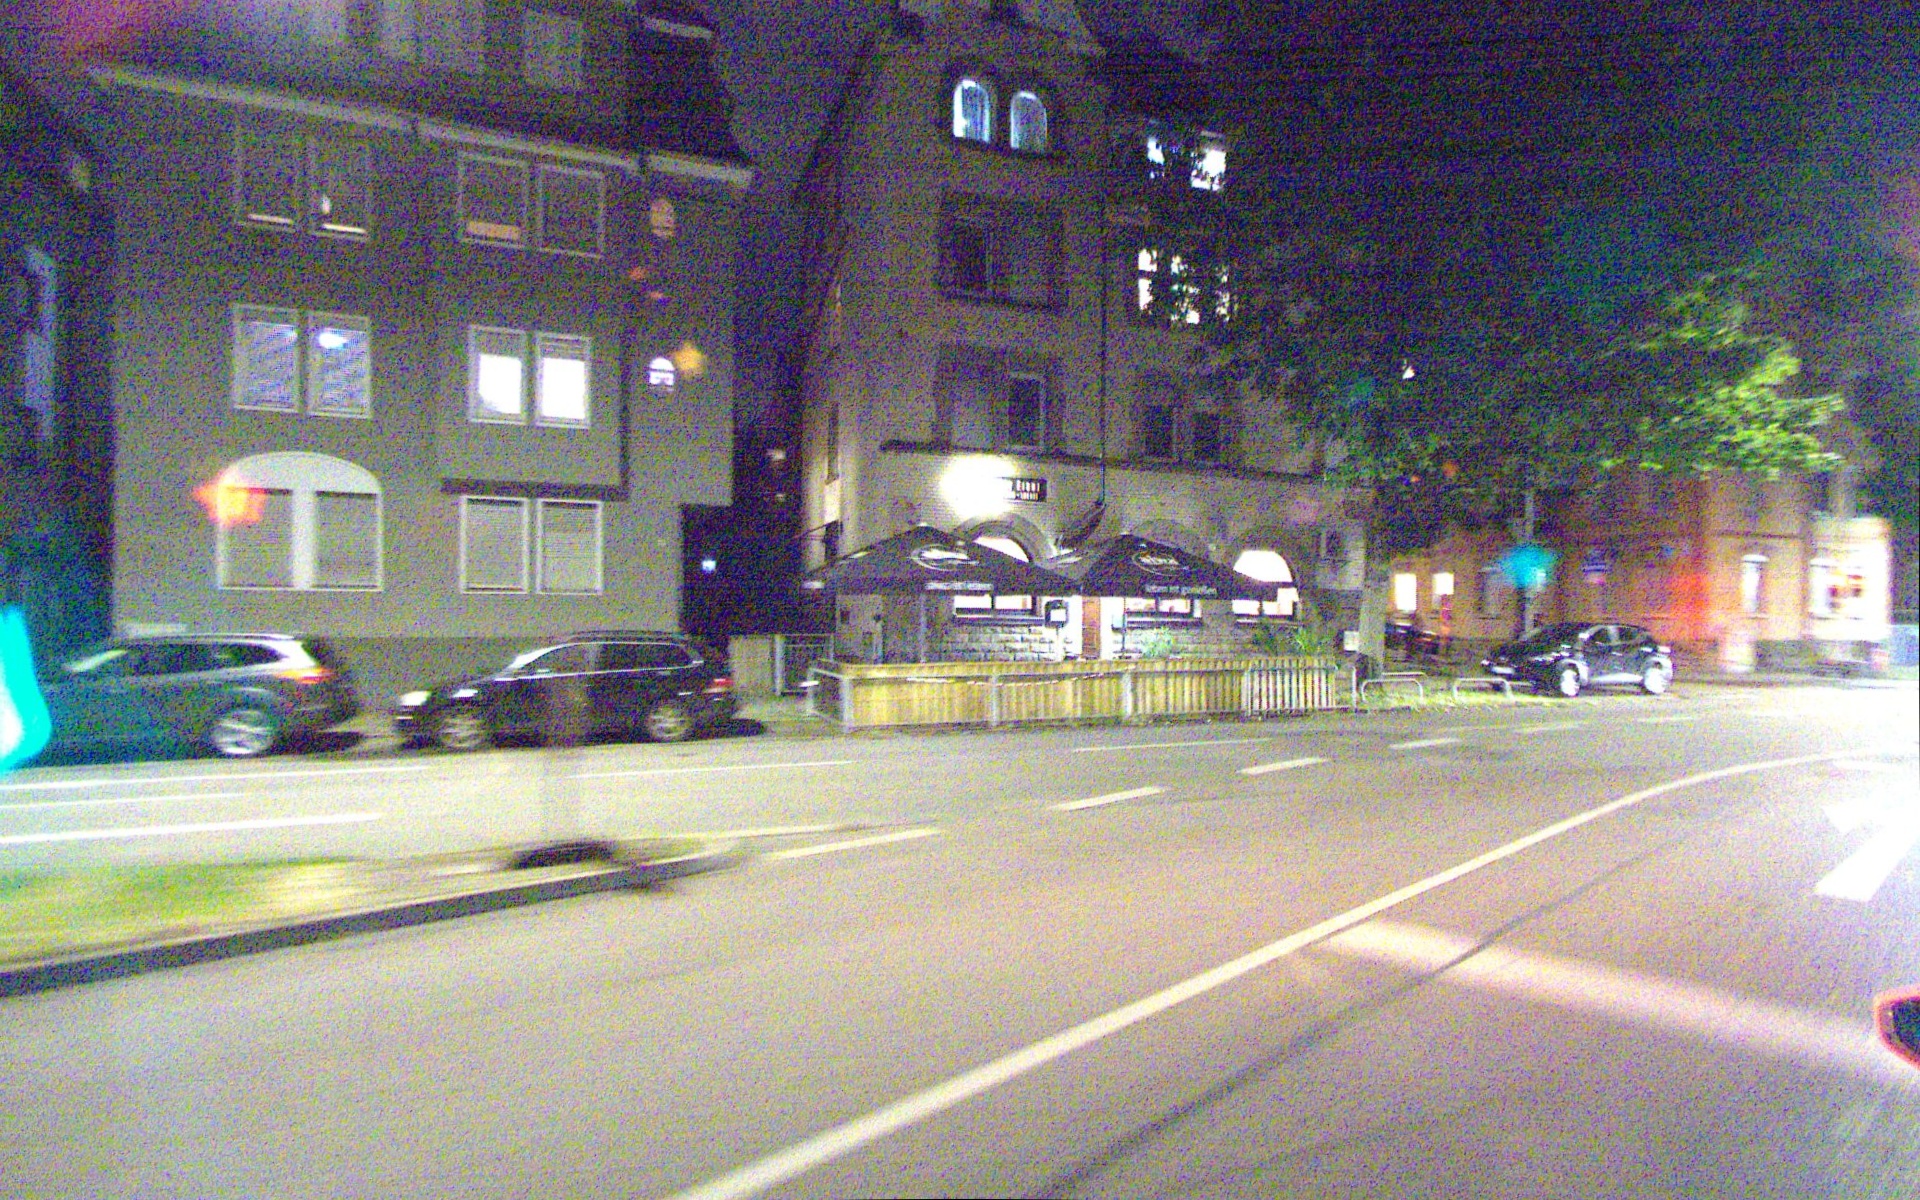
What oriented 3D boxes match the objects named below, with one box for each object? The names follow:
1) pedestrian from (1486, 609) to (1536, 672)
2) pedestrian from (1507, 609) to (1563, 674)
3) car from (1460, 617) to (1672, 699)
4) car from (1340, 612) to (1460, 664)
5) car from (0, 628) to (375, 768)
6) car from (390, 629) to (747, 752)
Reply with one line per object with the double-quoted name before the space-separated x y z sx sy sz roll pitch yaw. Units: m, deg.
"pedestrian" 15.474 1.133 28.195 0.980 1.713 0.710 0 -1 -10
"pedestrian" 15.550 1.109 27.186 1.104 1.713 0.710 0 -1 -10
"car" 13.291 1.214 22.072 3.961 1.618 1.884 0 0 -19
"car" 16.360 1.388 37.554 1.873 1.799 3.980 0 -1 -21
"car" -9.932 1.123 12.392 4.405 1.499 1.858 0 0 -21
"car" -5.336 1.170 14.116 4.376 1.452 1.858 0 0 -21
